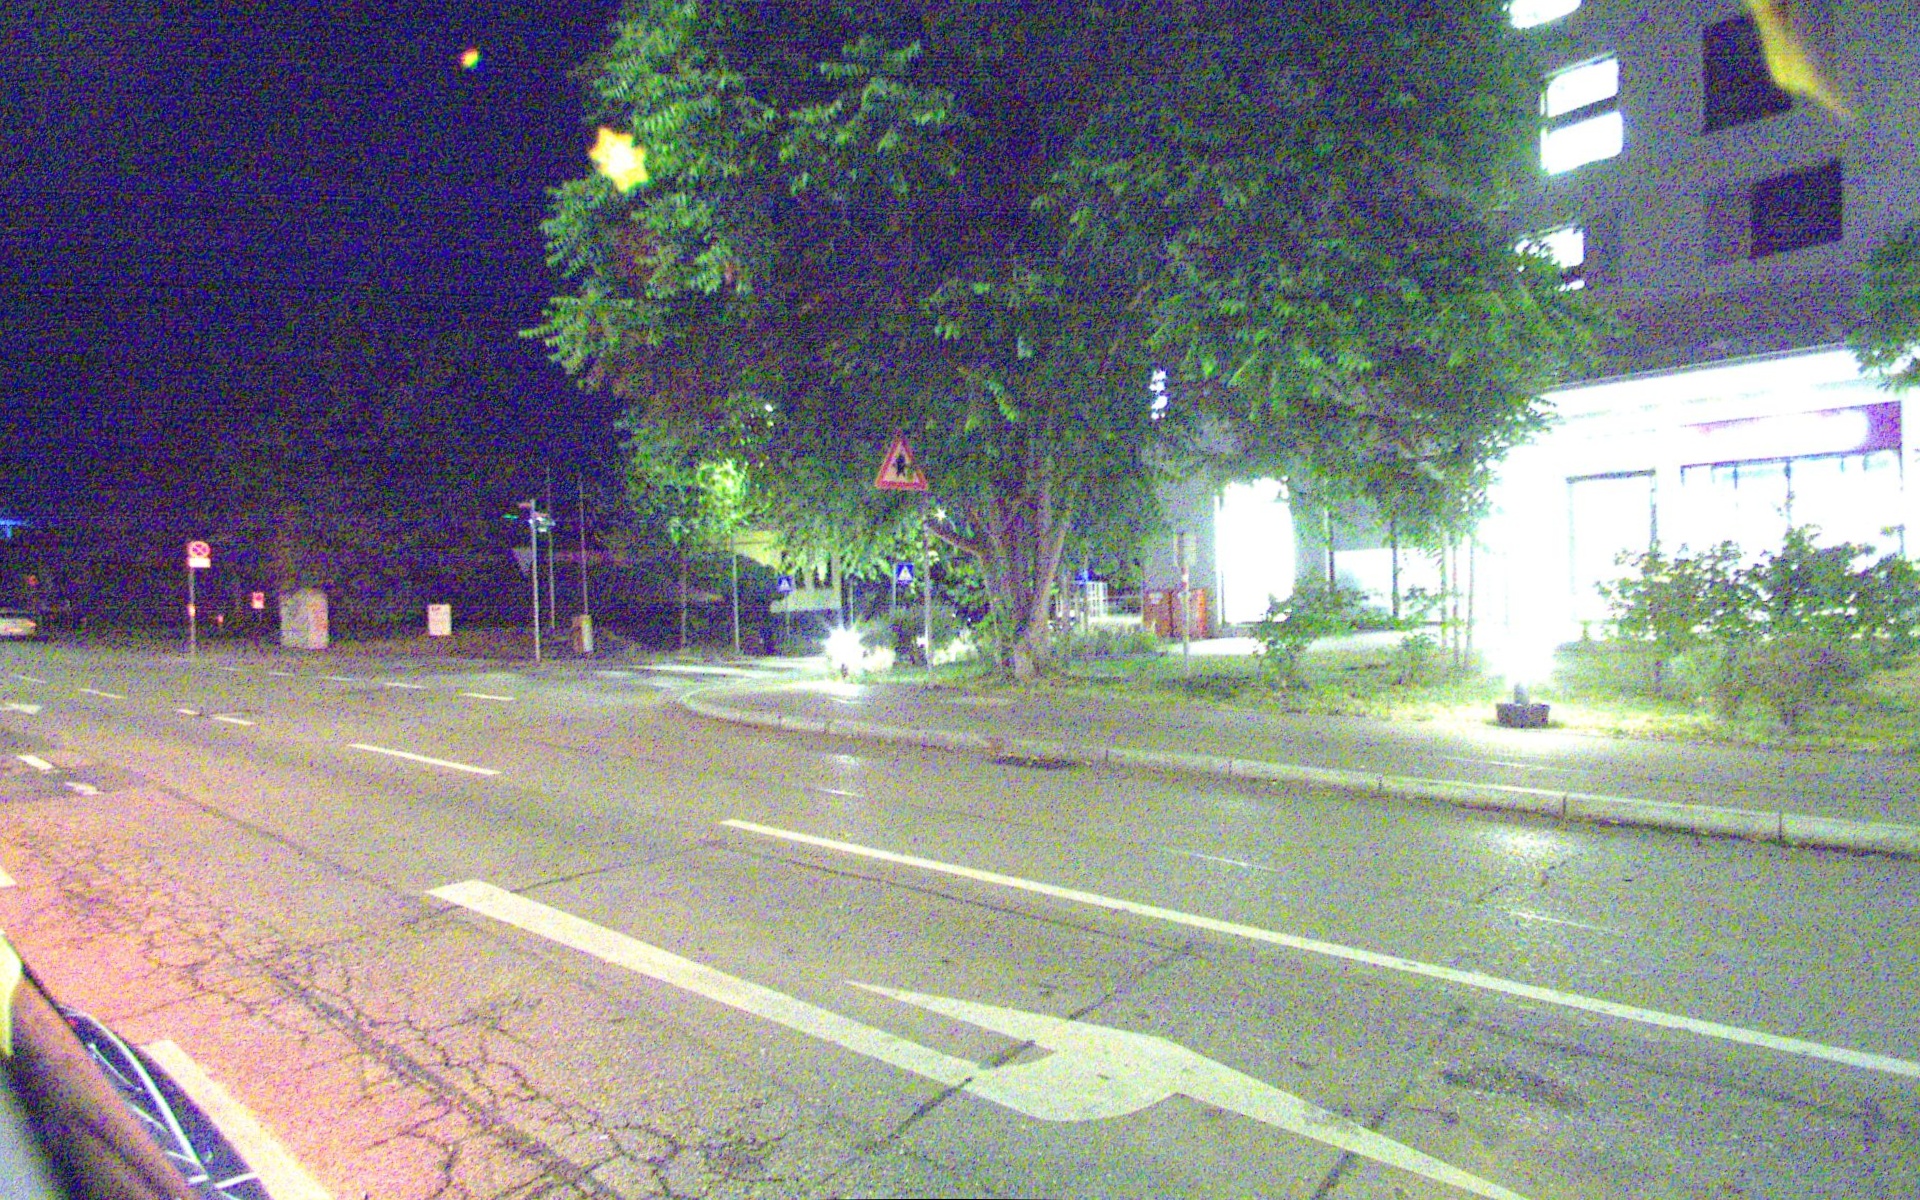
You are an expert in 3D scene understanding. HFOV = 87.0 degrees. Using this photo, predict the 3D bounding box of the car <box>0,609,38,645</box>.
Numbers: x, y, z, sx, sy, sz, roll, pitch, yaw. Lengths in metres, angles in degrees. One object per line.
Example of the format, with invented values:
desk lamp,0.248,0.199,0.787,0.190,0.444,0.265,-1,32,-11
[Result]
car,-43.267,1.193,45.764,3.998,1.464,1.887,1,2,41
